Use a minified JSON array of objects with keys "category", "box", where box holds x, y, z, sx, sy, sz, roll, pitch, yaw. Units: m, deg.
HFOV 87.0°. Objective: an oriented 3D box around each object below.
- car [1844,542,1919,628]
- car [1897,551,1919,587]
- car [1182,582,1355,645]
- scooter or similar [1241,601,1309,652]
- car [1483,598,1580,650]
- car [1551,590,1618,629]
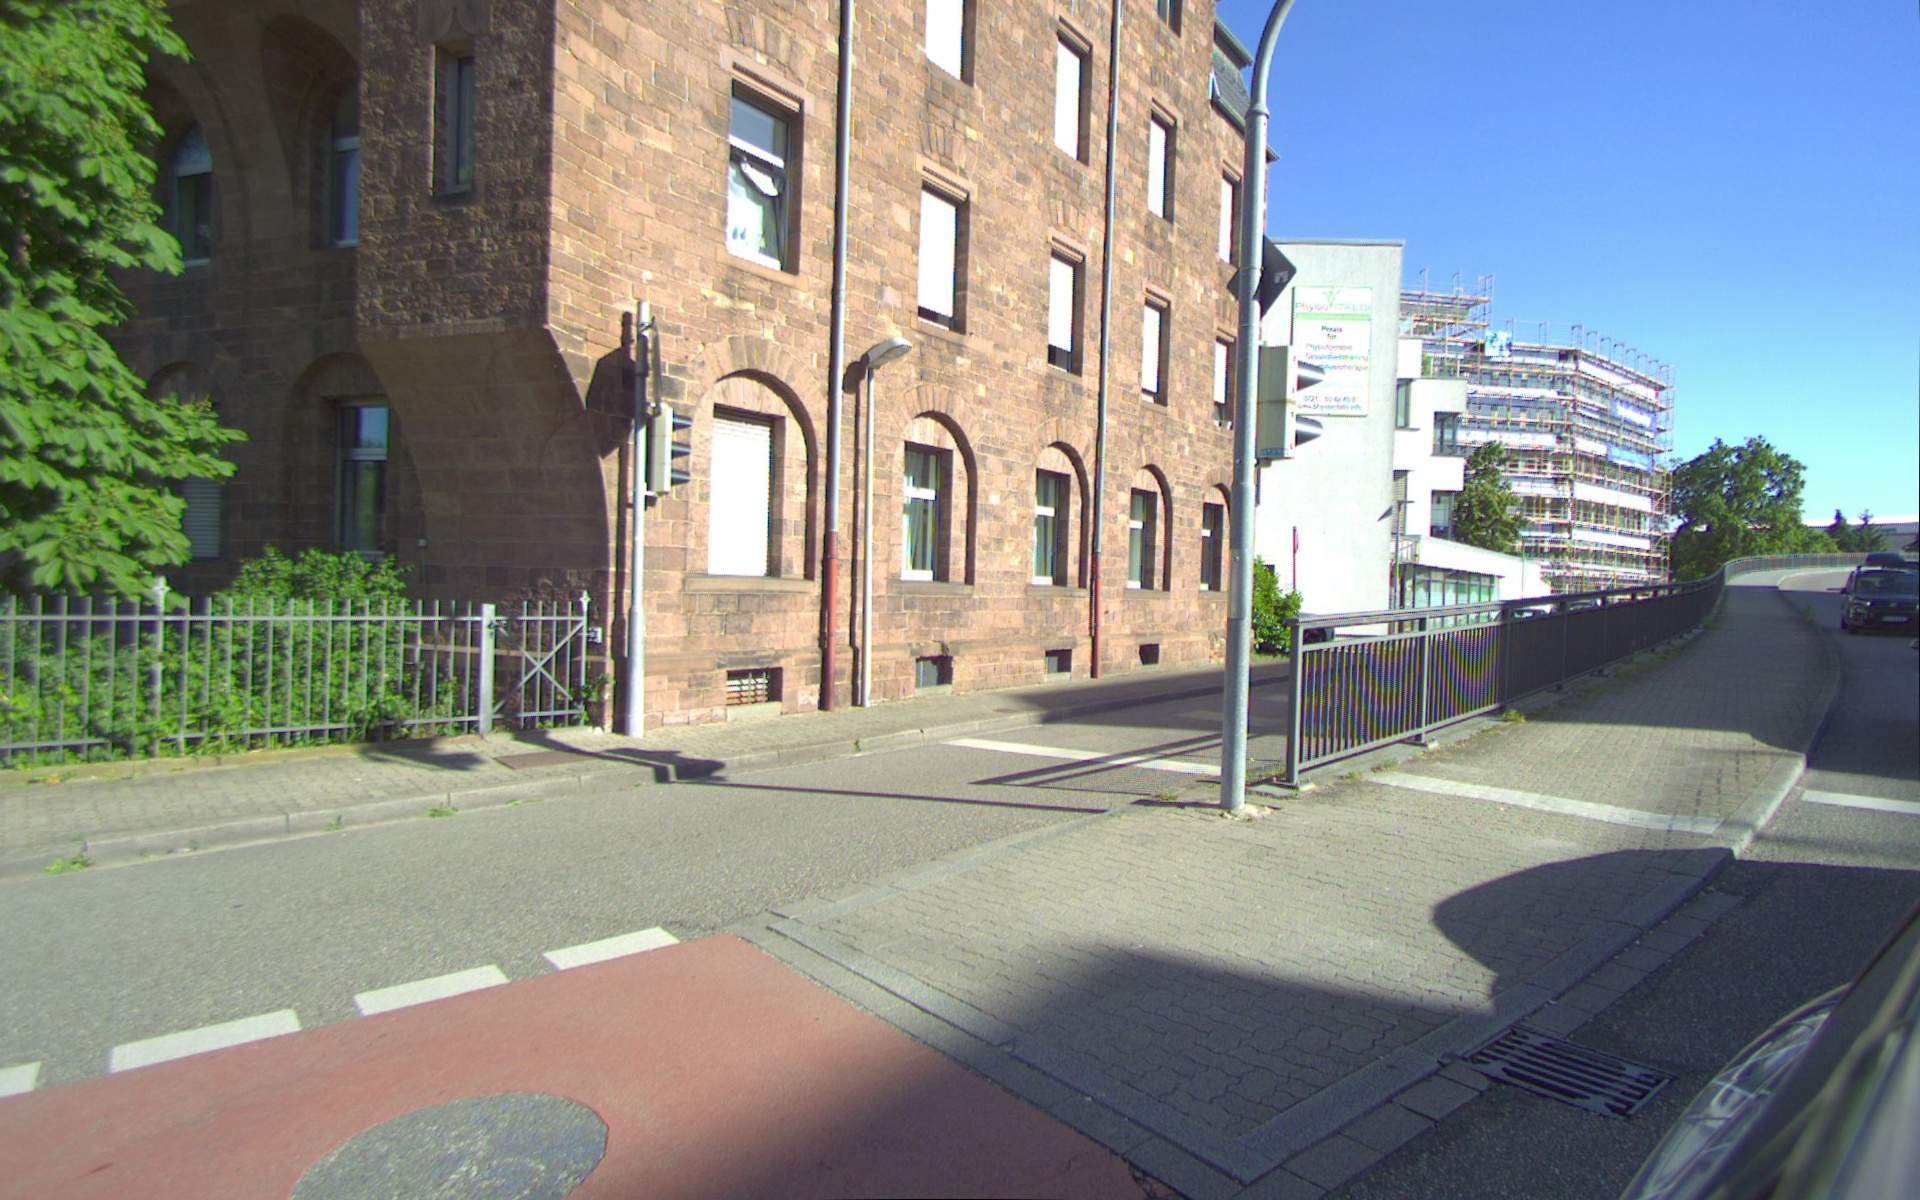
[{"category":"car","box":[26.445,-0.466,28.576,1.901,2.241,4.537,1,2,37]},{"category":"car","box":[55.936,-1.760,58.684,1.991,1.959,4.782,3,1,39]},{"category":"car","box":[9.073,0.369,30.038,4.562,1.789,1.828,0,2,2]},{"category":"scooter or similar","box":[7.881,0.654,25.355,1.453,1.234,0.775,-1,-1,35]},{"category":"car","box":[19.097,0.746,33.740,1.844,1.448,4.611,1,3,42]},{"category":"car","box":[27.566,0.397,44.627,1.843,1.554,3.940,3,2,41]}]
